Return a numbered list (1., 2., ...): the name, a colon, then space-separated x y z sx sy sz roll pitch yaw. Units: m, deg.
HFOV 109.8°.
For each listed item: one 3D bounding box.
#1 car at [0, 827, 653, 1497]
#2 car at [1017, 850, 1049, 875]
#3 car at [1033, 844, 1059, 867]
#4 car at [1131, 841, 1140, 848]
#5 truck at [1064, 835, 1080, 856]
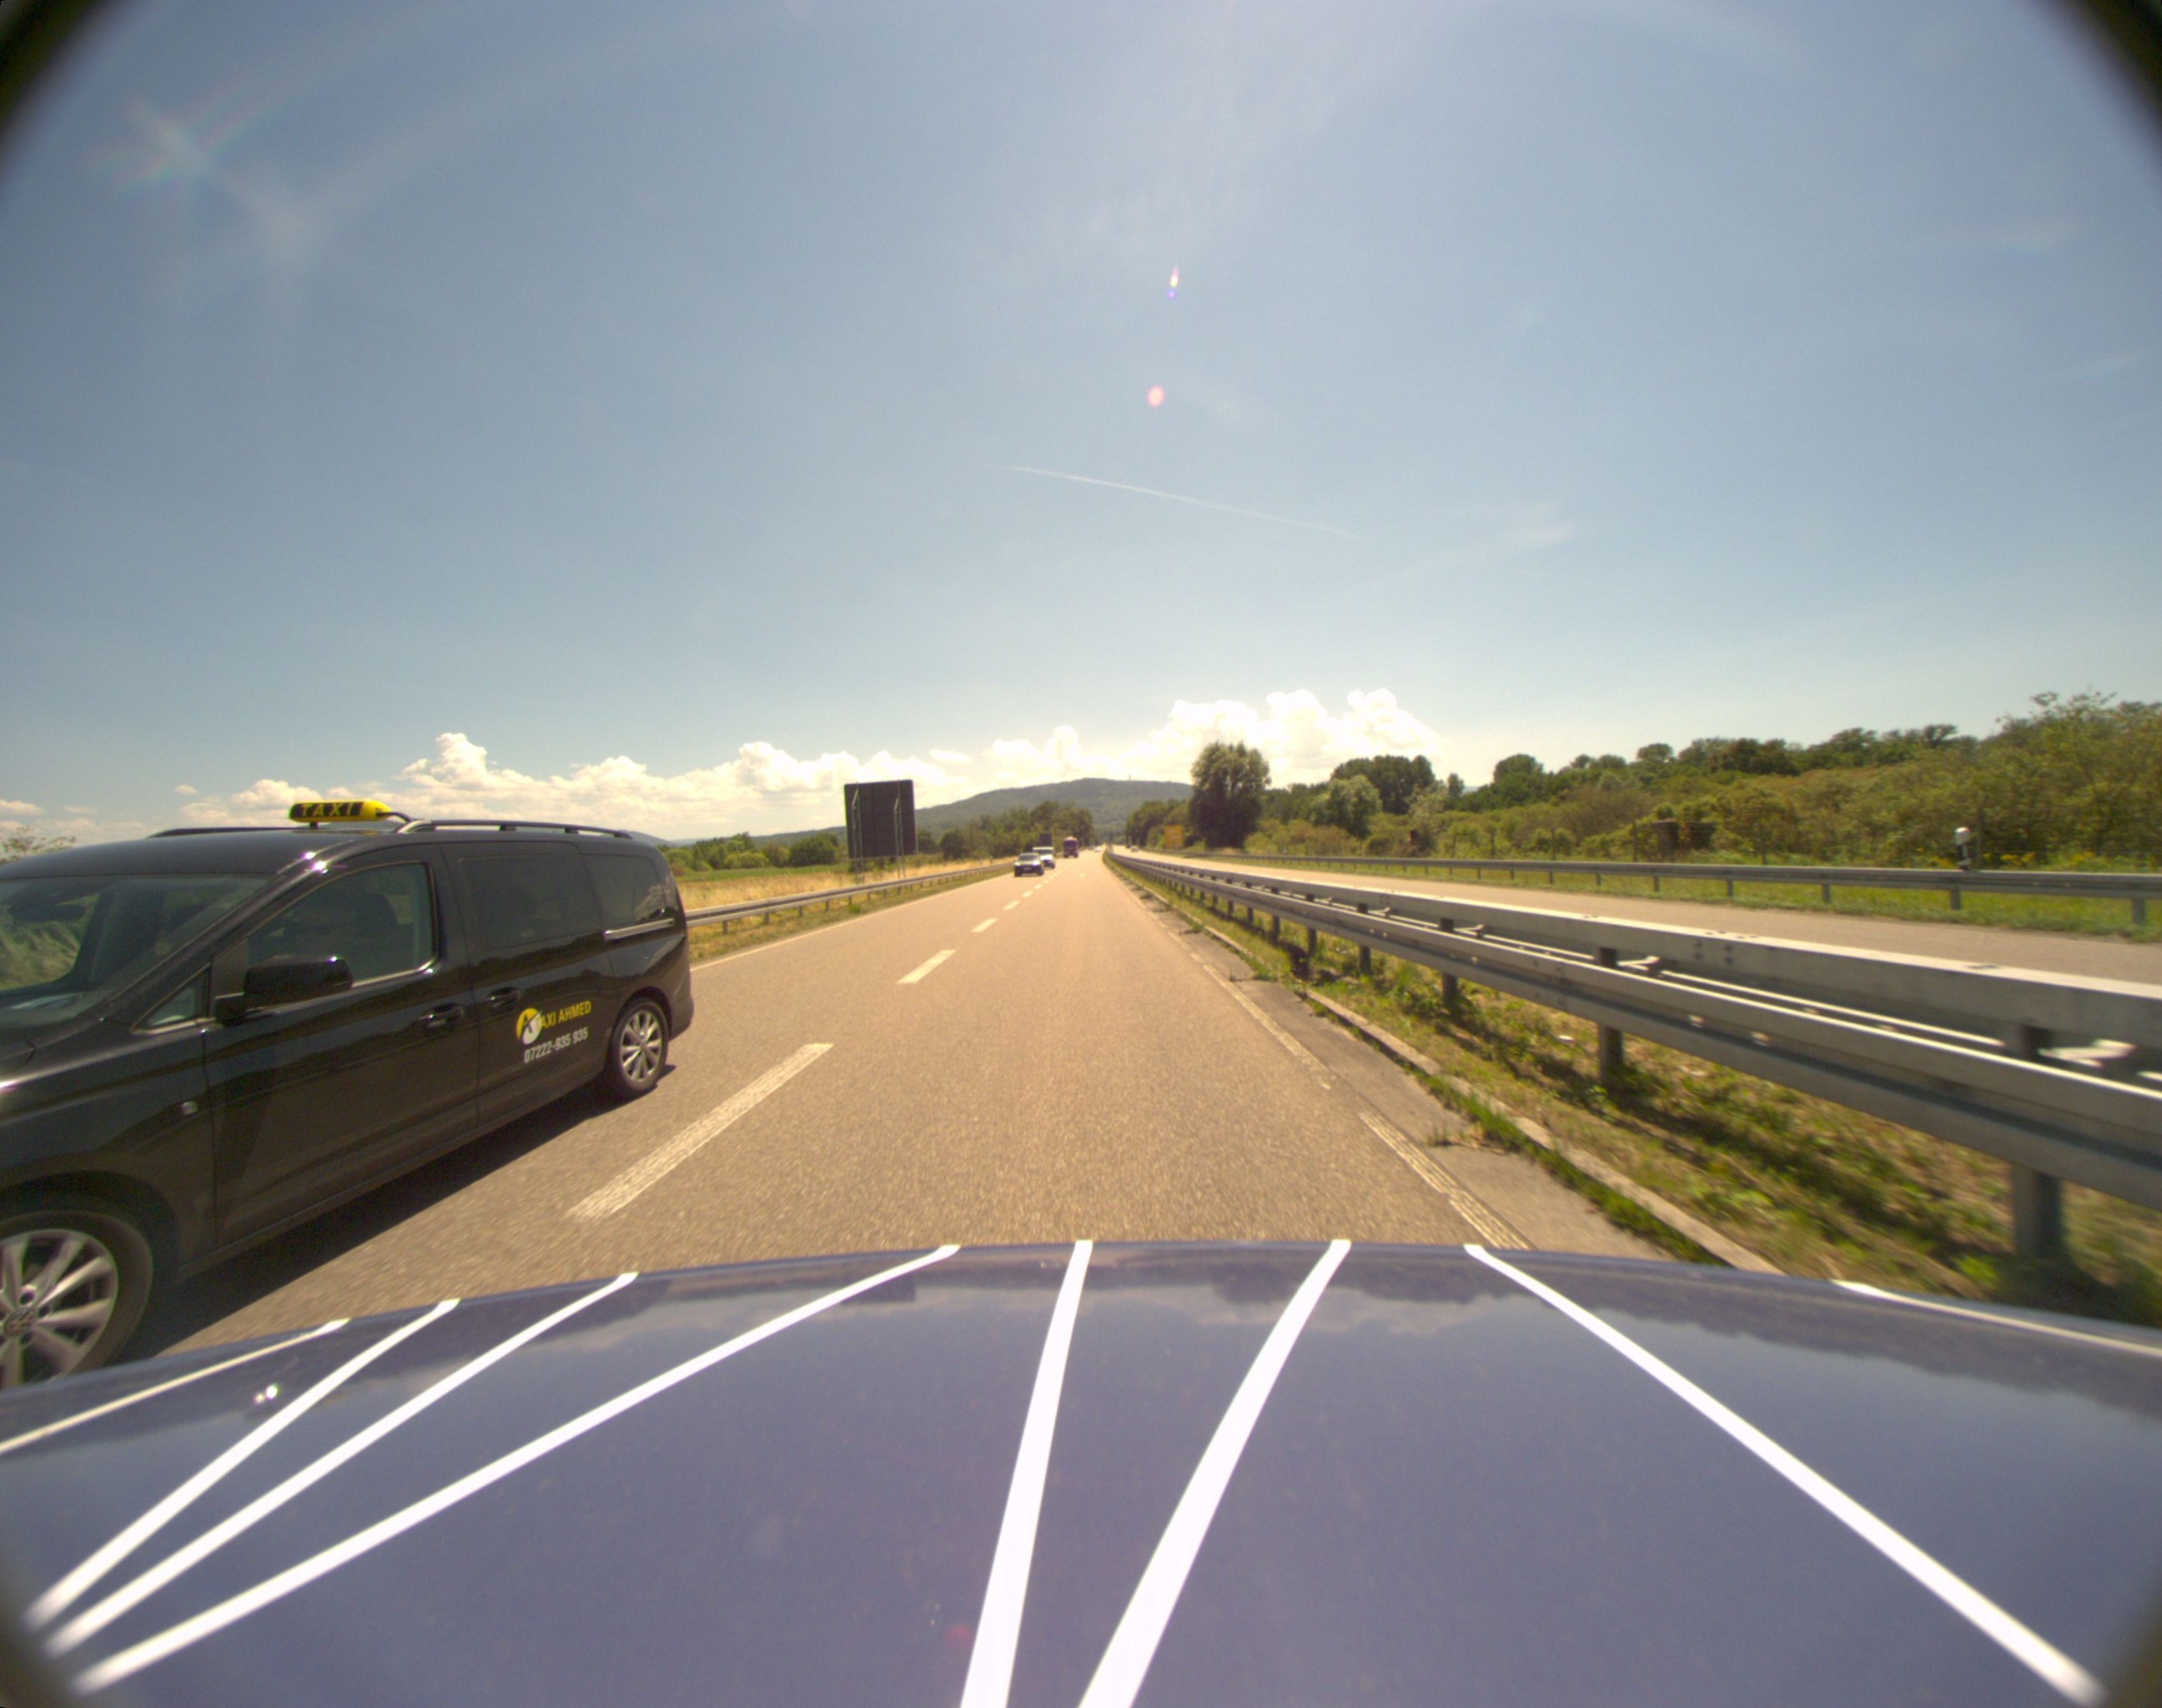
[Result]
1. car: -3.845 0.858 3.065 1.784 1.806 4.212 -3 1 0
2. car: -3.206 0.530 51.072 1.789 1.544 4.019 -1 1 1
3. car: -3.134 0.126 69.192 2.011 1.977 5.033 -3 1 0
4. car: 14.155 -2.445 197.409 1.831 1.489 4.102 -4 1 1
5. truck: -1.611 -1.598 140.574 2.604 3.670 5.939 -2 0 2
